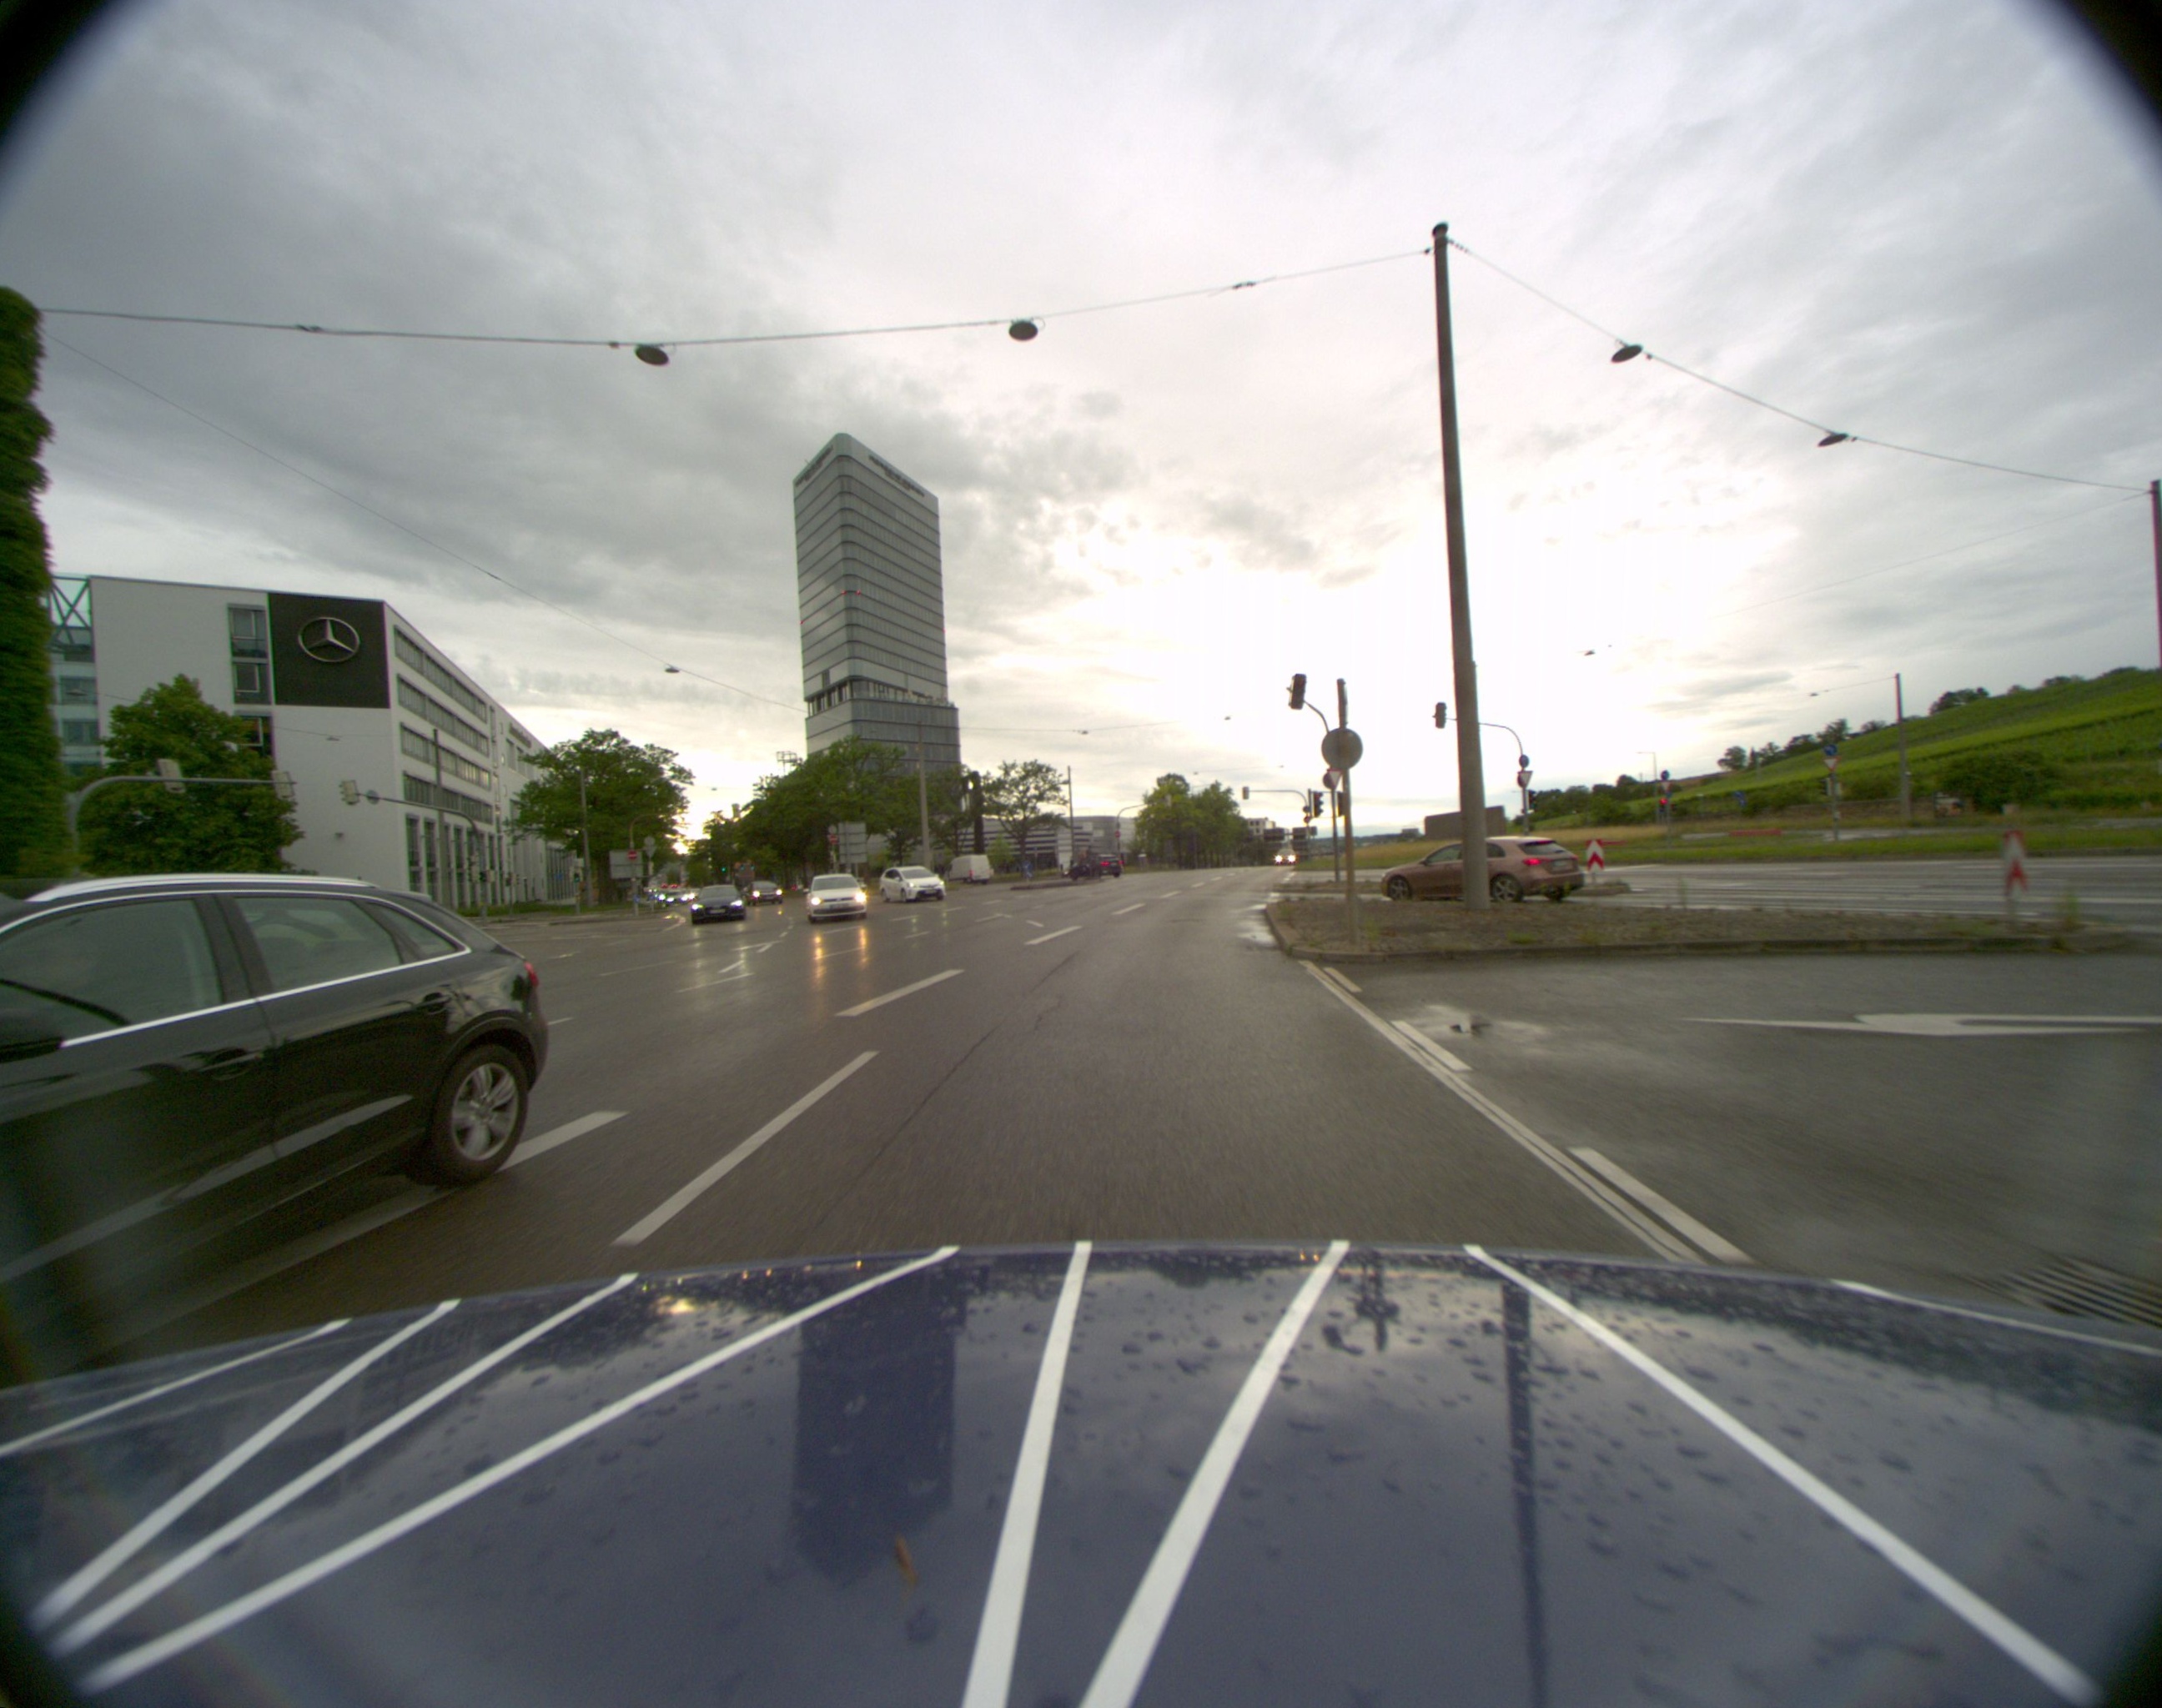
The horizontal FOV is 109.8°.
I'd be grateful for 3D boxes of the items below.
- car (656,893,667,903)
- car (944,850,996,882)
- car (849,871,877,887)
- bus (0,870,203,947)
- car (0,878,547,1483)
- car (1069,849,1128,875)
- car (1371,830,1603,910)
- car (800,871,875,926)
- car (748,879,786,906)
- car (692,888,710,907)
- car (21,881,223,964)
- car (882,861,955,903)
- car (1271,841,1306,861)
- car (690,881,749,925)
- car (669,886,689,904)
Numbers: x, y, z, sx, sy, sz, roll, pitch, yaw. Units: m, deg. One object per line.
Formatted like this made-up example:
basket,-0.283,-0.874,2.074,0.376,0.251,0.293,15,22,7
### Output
car,-78.431,8.249,142.012,1.717,1.699,3.873,-4,1,-31
car,-9.907,1.098,67.717,1.935,2.569,5.446,-5,1,-39
car,-23.231,2.668,80.831,1.685,1.476,3.782,-4,1,-34
bus,-50.594,2.717,36.226,11.853,3.182,1.997,-3,1,-19
car,-3.781,0.943,2.203,1.730,1.525,4.124,-3,0,-5
car,1.132,0.570,51.929,1.742,1.587,4.331,-4,1,-35
car,8.857,0.348,17.019,1.741,1.453,4.333,-4,1,-25
car,-7.870,1.334,24.316,1.732,1.464,4.256,-5,1,-24
car,-19.165,2.315,46.312,1.572,1.407,3.871,-4,1,-30
car,-44.099,5.029,88.079,1.614,2.002,3.625,-4,1,-28
car,-36.662,2.565,29.162,4.803,2.650,1.929,-4,1,-4
car,-7.384,1.213,34.226,1.831,1.575,4.287,-6,3,-31
car,18.405,-0.303,67.354,1.792,1.579,3.912,-3,1,33
car,-14.004,1.860,29.606,1.762,1.390,3.993,-4,1,-22
car,-38.942,3.996,73.609,1.614,1.505,3.625,-4,1,-28
